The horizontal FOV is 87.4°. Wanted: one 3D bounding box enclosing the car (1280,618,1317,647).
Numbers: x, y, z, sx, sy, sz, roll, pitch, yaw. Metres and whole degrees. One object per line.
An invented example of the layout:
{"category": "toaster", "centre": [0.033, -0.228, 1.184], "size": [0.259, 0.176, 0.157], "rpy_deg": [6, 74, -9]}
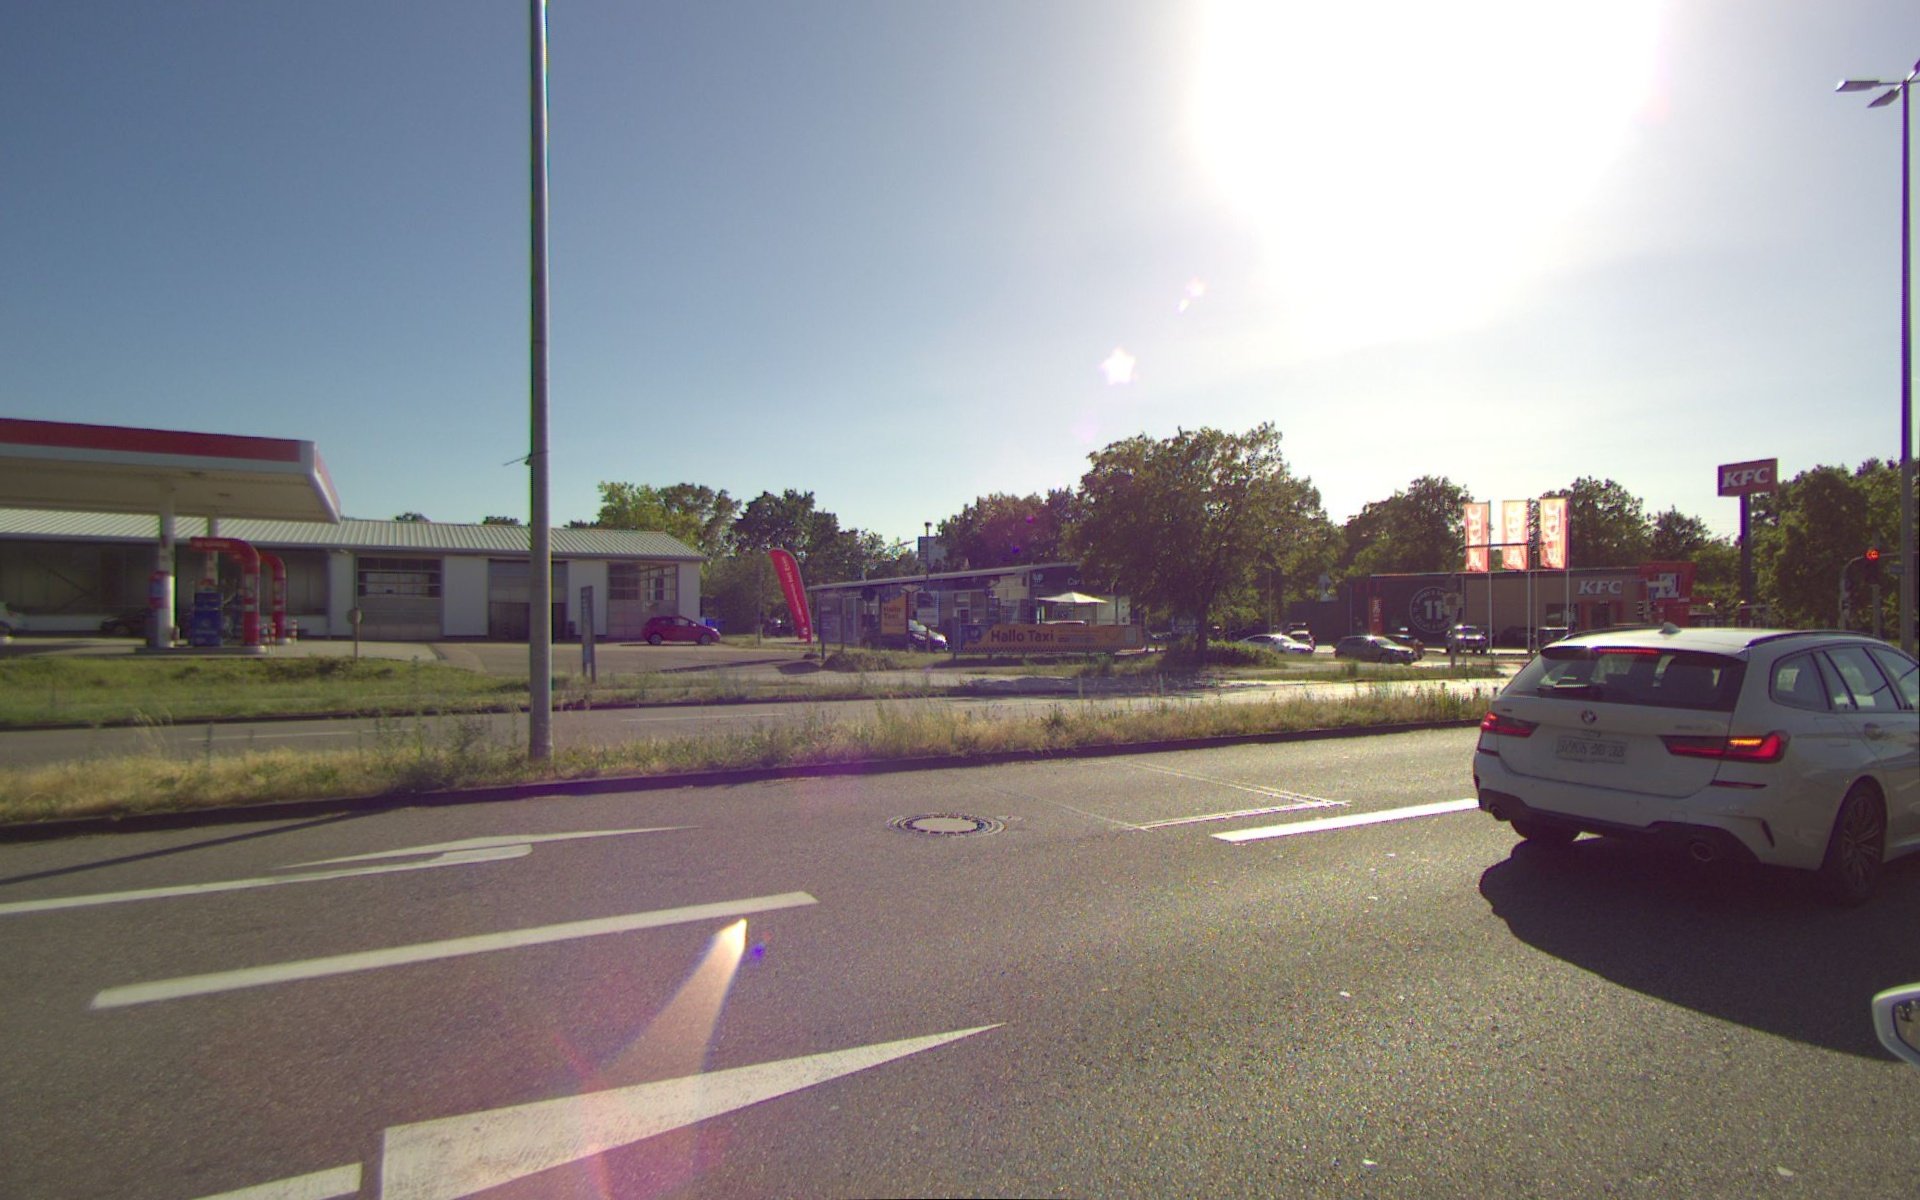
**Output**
{"category": "car", "centre": [23.079, 2.158, 68.587], "size": [1.959, 1.837, 3.775], "rpy_deg": [2, 0, 12]}

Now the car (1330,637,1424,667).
{"category": "car", "centre": [20.864, 2.601, 50.413], "size": [1.850, 1.268, 4.062], "rpy_deg": [2, 0, -31]}

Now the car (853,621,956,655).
{"category": "car", "centre": [-2.288, 1.535, 41.317], "size": [3.930, 1.193, 1.774], "rpy_deg": [2, 0, 32]}

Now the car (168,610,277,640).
{"category": "car", "centre": [-32.519, 1.121, 44.429], "size": [3.688, 1.203, 1.667], "rpy_deg": [2, 0, -30]}

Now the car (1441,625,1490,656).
{"category": "car", "centre": [31.923, 2.535, 63.550], "size": [1.896, 1.763, 4.099], "rpy_deg": [2, 0, 14]}

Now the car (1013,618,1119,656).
{"category": "car", "centre": [4.474, 1.568, 42.490], "size": [3.941, 1.461, 1.990], "rpy_deg": [2, 0, -21]}

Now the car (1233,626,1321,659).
{"category": "car", "centre": [17.810, 2.363, 56.638], "size": [1.914, 1.600, 4.599], "rpy_deg": [2, 0, -31]}

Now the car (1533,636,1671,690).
{"category": "car", "centre": [22.422, 2.155, 35.114], "size": [4.254, 1.749, 1.801], "rpy_deg": [1, 0, -18]}

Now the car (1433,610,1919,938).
{"category": "car", "centre": [5.384, 0.867, 6.636], "size": [4.541, 1.506, 1.804], "rpy_deg": [1, 0, -30]}

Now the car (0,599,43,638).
{"category": "car", "centre": [-39.601, 0.721, 40.262], "size": [3.812, 1.508, 1.984], "rpy_deg": [2, 0, -30]}

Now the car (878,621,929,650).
{"category": "car", "centre": [-3.105, 1.918, 54.690], "size": [1.516, 1.460, 3.123], "rpy_deg": [2, 0, -31]}

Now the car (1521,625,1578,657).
{"category": "car", "centre": [36.561, 2.505, 62.390], "size": [1.896, 1.763, 4.099], "rpy_deg": [2, 0, 14]}

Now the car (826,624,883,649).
{"category": "car", "centre": [-6.116, 2.077, 58.055], "size": [1.736, 1.268, 4.020], "rpy_deg": [2, 0, -31]}

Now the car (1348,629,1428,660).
{"category": "car", "centre": [24.575, 2.528, 57.738], "size": [1.979, 1.579, 3.737], "rpy_deg": [2, 0, -34]}

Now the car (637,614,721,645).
{"category": "car", "centre": [-14.429, 1.528, 51.598], "size": [3.949, 1.491, 1.521], "rpy_deg": [2, 0, -24]}
